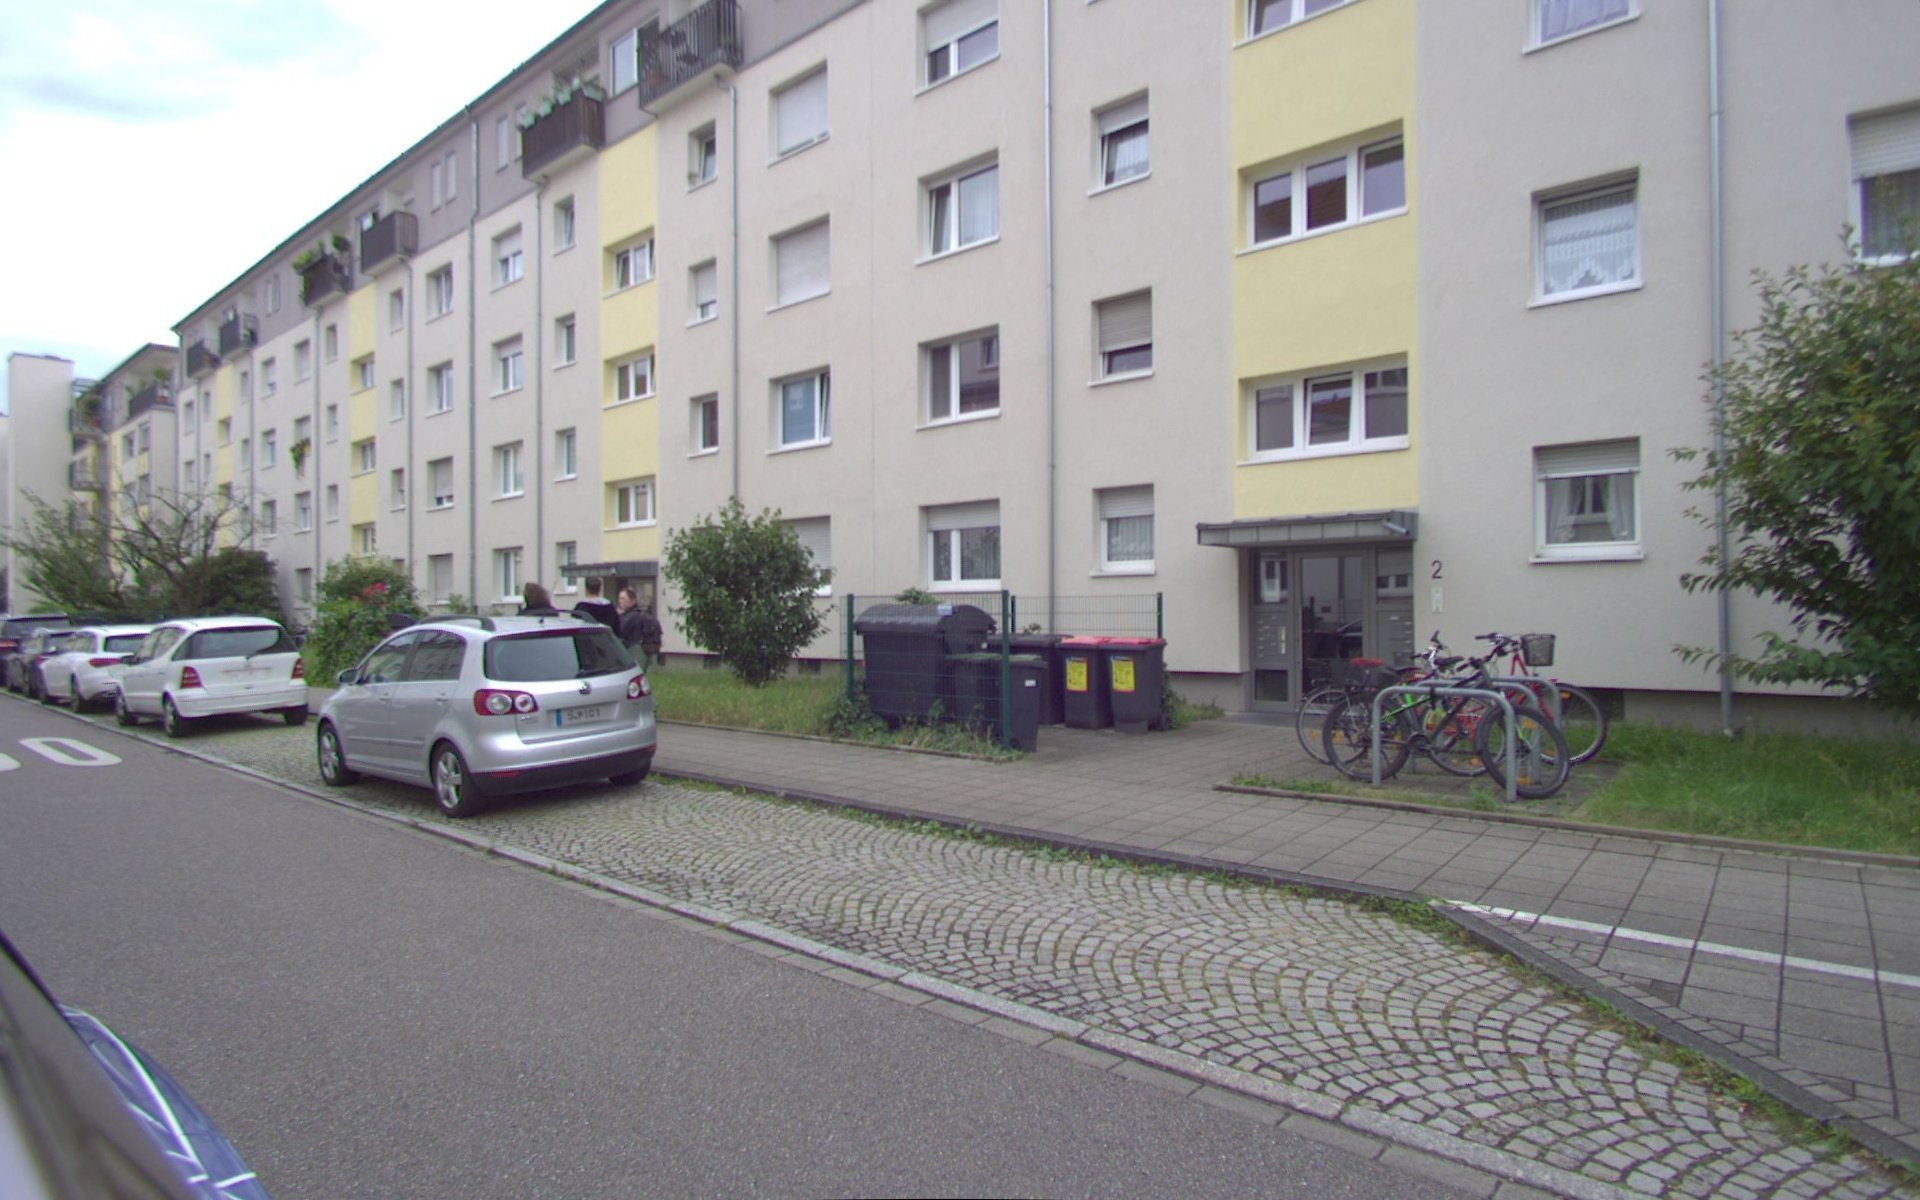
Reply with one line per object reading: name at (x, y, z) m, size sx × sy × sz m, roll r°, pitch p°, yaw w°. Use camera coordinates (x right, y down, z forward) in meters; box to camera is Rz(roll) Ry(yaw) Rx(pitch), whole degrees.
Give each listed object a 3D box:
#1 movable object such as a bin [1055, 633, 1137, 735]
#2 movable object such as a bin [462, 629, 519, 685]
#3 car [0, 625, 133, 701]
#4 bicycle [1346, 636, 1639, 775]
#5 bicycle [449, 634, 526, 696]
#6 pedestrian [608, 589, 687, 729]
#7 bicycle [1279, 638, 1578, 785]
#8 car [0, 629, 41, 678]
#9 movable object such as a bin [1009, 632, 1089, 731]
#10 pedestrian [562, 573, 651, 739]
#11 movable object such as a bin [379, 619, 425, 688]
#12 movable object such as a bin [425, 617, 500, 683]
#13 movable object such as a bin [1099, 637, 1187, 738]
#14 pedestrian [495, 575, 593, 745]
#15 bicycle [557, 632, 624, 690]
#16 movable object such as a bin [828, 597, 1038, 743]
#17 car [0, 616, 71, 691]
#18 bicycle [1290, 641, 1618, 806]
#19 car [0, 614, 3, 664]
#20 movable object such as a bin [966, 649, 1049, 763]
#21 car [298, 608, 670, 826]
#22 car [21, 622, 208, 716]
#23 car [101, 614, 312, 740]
movable object such as a bin at (1.595, 0.959, 11.820) m, size 0.597 × 1.125 × 0.834 m, roll -2°, pitch -2°, yaw 38°
movable object such as a bin at (-10.069, 1.207, 21.714) m, size 0.786 × 1.117 × 0.861 m, roll 0°, pitch 0°, yaw 36°
car at (-19.588, 1.291, 22.000) m, size 4.480 × 1.464 × 1.707 m, roll -1°, pitch -1°, yaw 40°
bicycle at (4.625, 0.867, 8.926) m, size 2.174 × 1.079 × 0.651 m, roll -2°, pitch -2°, yaw 41°
bicycle at (-8.261, 1.111, 17.663) m, size 1.877 × 1.032 × 0.483 m, roll -2°, pitch -2°, yaw 41°
pedestrian at (-3.883, 0.710, 12.569) m, size 0.802 × 1.669 × 0.608 m, roll -2°, pitch -2°, yaw 40°
bicycle at (3.868, 0.866, 8.508) m, size 2.174 × 1.079 × 0.651 m, roll -2°, pitch -2°, yaw 41°
car at (-29.171, 1.621, 30.535) m, size 3.537 × 1.408 × 1.556 m, roll -2°, pitch -2°, yaw 38°
movable object such as a bin at (1.077, 0.960, 12.235) m, size 0.597 × 1.125 × 0.834 m, roll -2°, pitch -2°, yaw 38°
pedestrian at (-4.163, 0.642, 11.913) m, size 0.762 × 1.868 × 0.699 m, roll -2°, pitch -2°, yaw 40°
movable object such as a bin at (-11.498, 1.082, 20.868) m, size 0.586 × 1.378 × 0.651 m, roll 0°, pitch 0°, yaw 36°
movable object such as a bin at (-10.968, 1.074, 22.306) m, size 1.187 × 1.385 × 1.047 m, roll 0°, pitch 0°, yaw 35°
movable object such as a bin at (2.062, 0.958, 11.359) m, size 0.633 × 1.059 × 0.855 m, roll -2°, pitch -2°, yaw 39°
pedestrian at (-4.832, 0.667, 11.745) m, size 0.973 × 1.877 × 0.633 m, roll -2°, pitch 0°, yaw 40°
bicycle at (-6.921, 1.122, 18.938) m, size 1.556 × 1.032 × 0.416 m, roll -2°, pitch -2°, yaw 37°
movable object such as a bin at (-0.289, 0.710, 11.100) m, size 1.669 × 1.432 × 1.573 m, roll -2°, pitch -1°, yaw 39°
car at (-24.205, 1.342, 25.871) m, size 4.447 × 1.793 × 1.555 m, roll -2°, pitch -2°, yaw 40°
bicycle at (3.674, 0.858, 7.677) m, size 2.121 × 1.076 × 0.650 m, roll -2°, pitch -2°, yaw 41°
car at (-37.046, 1.461, 37.571) m, size 3.537 × 1.820 × 1.686 m, roll -2°, pitch -2°, yaw 38°
movable object such as a bin at (0.459, 1.007, 9.837) m, size 0.597 × 1.041 × 0.531 m, roll -2°, pitch -2°, yaw 39°
car at (-4.485, 0.900, 9.280) m, size 3.913 × 1.562 × 1.637 m, roll -2°, pitch -1°, yaw 41°
car at (-15.641, 1.212, 18.647) m, size 4.680 × 1.521 × 1.702 m, roll -2°, pitch -2°, yaw 38°
car at (-11.301, 1.061, 15.112) m, size 3.723 × 1.651 × 1.668 m, roll -2°, pitch -2°, yaw 39°
